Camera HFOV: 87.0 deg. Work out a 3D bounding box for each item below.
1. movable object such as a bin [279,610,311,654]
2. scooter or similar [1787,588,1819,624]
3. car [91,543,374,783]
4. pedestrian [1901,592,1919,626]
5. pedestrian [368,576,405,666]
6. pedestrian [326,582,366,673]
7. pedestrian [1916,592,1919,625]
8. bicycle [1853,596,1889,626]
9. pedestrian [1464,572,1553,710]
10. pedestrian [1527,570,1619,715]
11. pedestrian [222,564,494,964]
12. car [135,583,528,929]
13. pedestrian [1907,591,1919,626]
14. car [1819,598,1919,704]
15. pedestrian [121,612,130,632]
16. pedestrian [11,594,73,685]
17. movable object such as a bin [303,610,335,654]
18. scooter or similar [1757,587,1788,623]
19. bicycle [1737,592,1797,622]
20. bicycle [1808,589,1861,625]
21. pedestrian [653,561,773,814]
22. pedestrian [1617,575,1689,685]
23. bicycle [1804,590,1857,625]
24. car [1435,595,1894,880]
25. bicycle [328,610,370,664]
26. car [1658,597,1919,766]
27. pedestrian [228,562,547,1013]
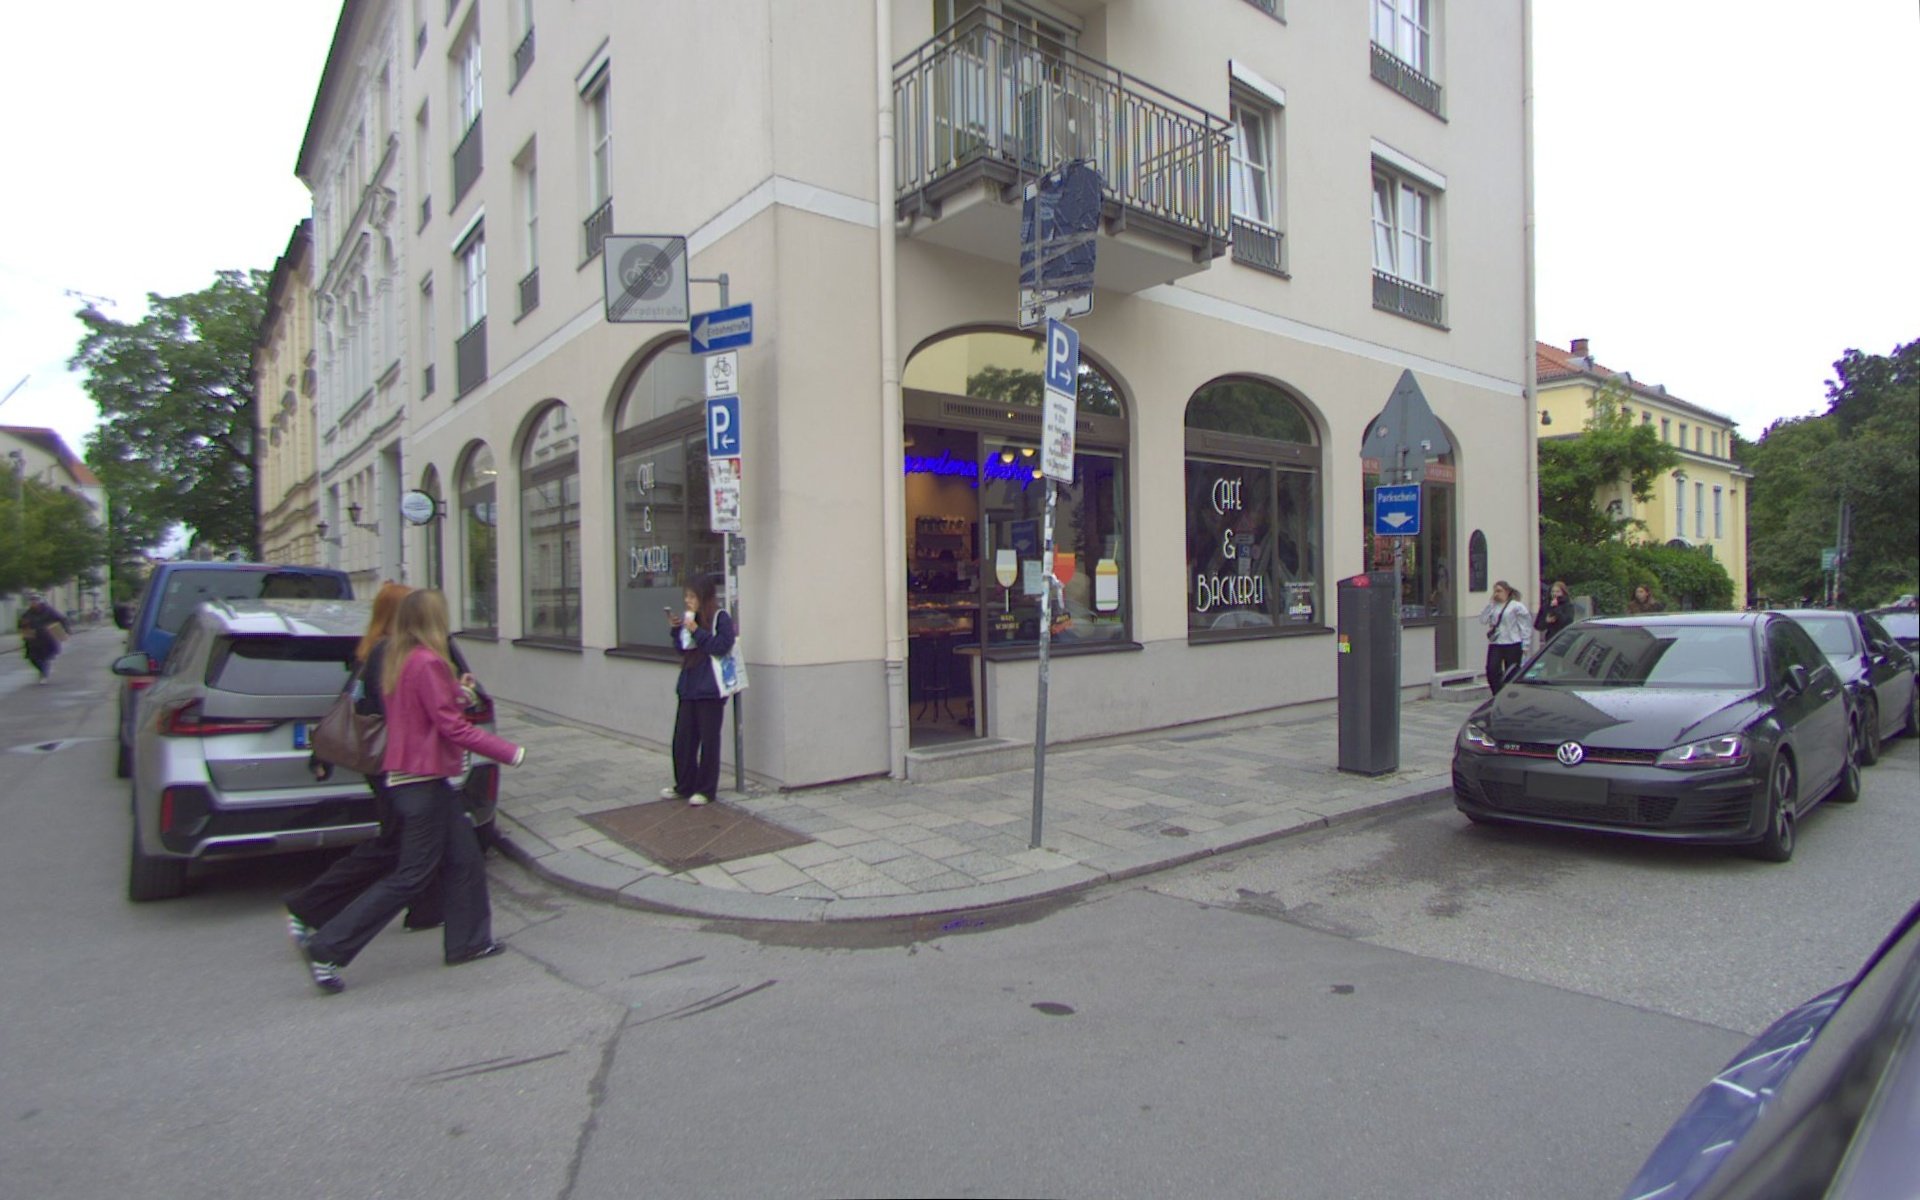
[{"bbox_3d":[-16.549,0.784,25.188,0.557,1.035,0.573,-2,1,-26],"label":"movable object such as a bin"},{"bbox_3d":[29.455,0.205,35.365,0.318,1.228,1.114,1,0,10],"label":"scooter or similar"},{"bbox_3d":[-7.666,0.530,10.547,1.939,1.941,4.449,3,-2,-40],"label":"car"},{"bbox_3d":[35.905,0.338,37.676,1.211,1.264,0.630,-2,-4,41],"label":"pedestrian"},{"bbox_3d":[-11.749,0.420,20.732,0.533,1.802,0.510,-2,1,-37],"label":"pedestrian"},{"bbox_3d":[-11.948,0.519,19.681,0.563,1.717,0.498,-2,1,-38],"label":"pedestrian"},{"bbox_3d":[37.146,0.330,38.632,0.883,1.251,0.542,-2,-4,41],"label":"pedestrian"},{"bbox_3d":[33.051,0.398,36.718,1.620,1.051,0.308,2,0,-24],"label":"bicycle"},{"bbox_3d":[7.027,0.492,12.963,0.865,1.682,0.706,-2,1,-40],"label":"pedestrian"},{"bbox_3d":[7.500,0.490,12.381,0.865,1.682,0.706,-2,1,-40],"label":"pedestrian"},{"bbox_3d":[-2.814,0.668,4.744,0.962,1.640,0.660,-3,1,-39],"label":"pedestrian"},{"bbox_3d":[-4.480,0.728,6.896,1.723,1.626,4.097,1,0,-40],"label":"car"},{"bbox_3d":[36.637,0.325,38.244,1.173,1.310,0.630,-2,-4,41],"label":"pedestrian"},{"bbox_3d":[14.847,0.689,15.447,4.572,1.429,1.806,-1,-1,-39],"label":"car"},{"bbox_3d":[-73.583,1.899,89.241,0.581,1.732,0.585,-2,1,-39],"label":"pedestrian"},{"bbox_3d":[-17.436,0.729,19.243,0.803,1.648,0.871,-3,2,-41],"label":"pedestrian"},{"bbox_3d":[-15.732,0.781,24.851,0.557,1.035,0.573,-2,1,-26],"label":"movable object such as a bin"},{"bbox_3d":[28.860,0.173,35.949,1.362,1.264,0.397,1,0,-30],"label":"scooter or similar"},{"bbox_3d":[29.353,0.238,36.827,1.639,1.006,0.246,2,0,28],"label":"bicycle"},{"bbox_3d":[31.200,0.260,36.098,1.624,1.213,0.169,2,0,3],"label":"bicycle"},{"bbox_3d":[-1.732,0.573,7.091,0.634,1.667,0.519,0,1,44],"label":"pedestrian"},{"bbox_3d":[10.924,0.450,15.950,0.865,1.642,0.706,-2,1,-40],"label":"pedestrian"},{"bbox_3d":[31.222,0.265,36.295,1.624,1.206,0.202,2,0,3],"label":"bicycle"},{"bbox_3d":[5.182,0.733,7.216,4.130,1.443,1.678,0,-2,-41],"label":"car"},{"bbox_3d":[-13.337,0.791,22.085,0.597,1.085,1.470,-2,2,-37],"label":"bicycle"},{"bbox_3d":[9.180,0.731,10.836,4.429,1.443,1.648,-1,-2,-40],"label":"car"},{"bbox_3d":[-2.370,0.678,4.236,1.050,1.645,0.473,-3,1,-40],"label":"pedestrian"}]
